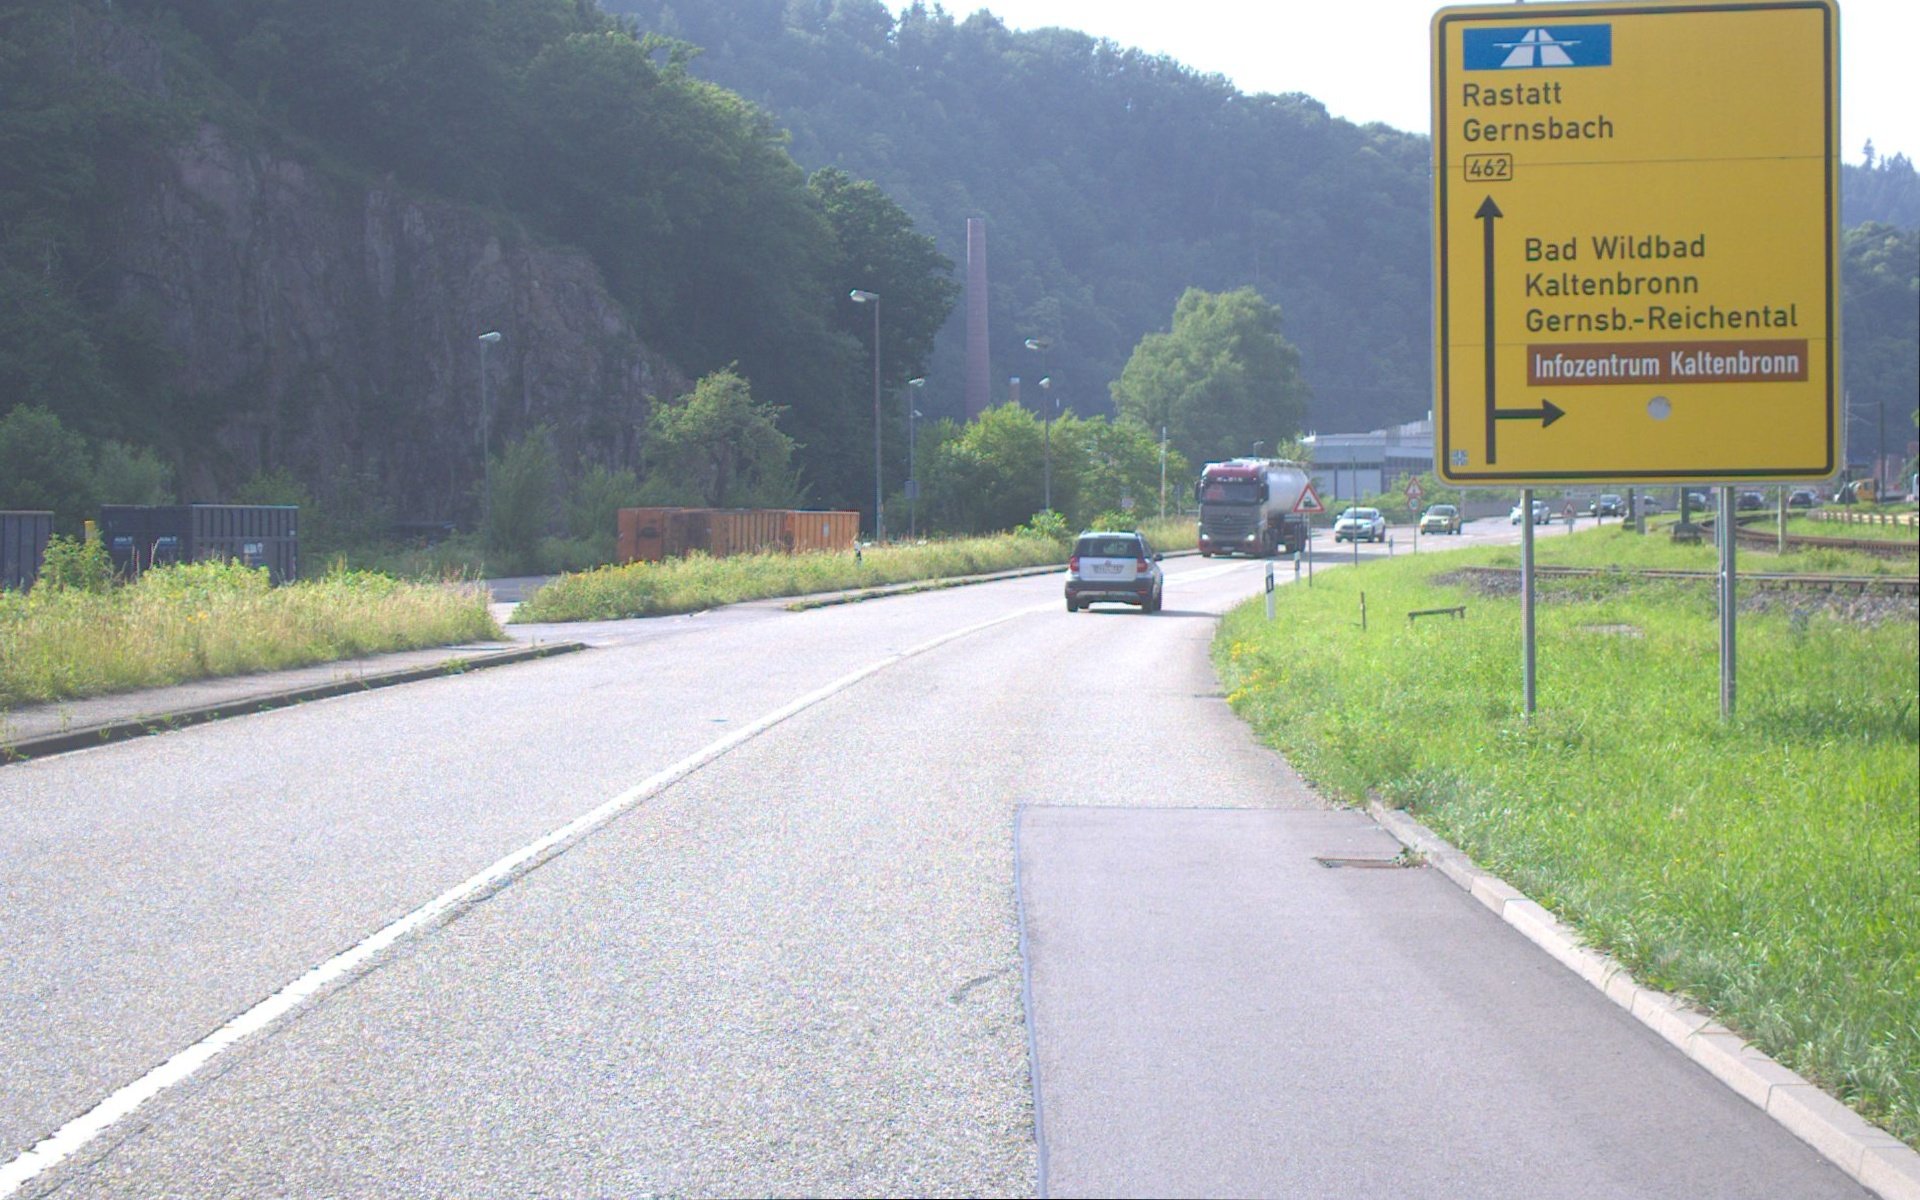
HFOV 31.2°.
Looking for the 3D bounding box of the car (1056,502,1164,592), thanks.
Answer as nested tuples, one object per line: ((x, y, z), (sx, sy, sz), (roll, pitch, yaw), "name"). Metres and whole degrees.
((3.132, -1.107, 70.994), (1.994, 1.717, 3.989), (-2, 1, 5), "car")

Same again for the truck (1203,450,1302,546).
((12.422, -4.308, 144.845), (2.751, 3.822, 14.556), (1, 2, 10), "truck")

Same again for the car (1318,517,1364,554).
((18.734, -3.168, 168.853), (1.994, 1.752, 4.468), (2, 2, 9), "car")

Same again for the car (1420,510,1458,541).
((26.142, -4.079, 187.609), (1.724, 1.619, 3.794), (1, 2, 12), "car")

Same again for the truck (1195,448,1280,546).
((11.222, -4.142, 138.367), (2.751, 3.822, 8.195), (1, 2, 9), "truck")
